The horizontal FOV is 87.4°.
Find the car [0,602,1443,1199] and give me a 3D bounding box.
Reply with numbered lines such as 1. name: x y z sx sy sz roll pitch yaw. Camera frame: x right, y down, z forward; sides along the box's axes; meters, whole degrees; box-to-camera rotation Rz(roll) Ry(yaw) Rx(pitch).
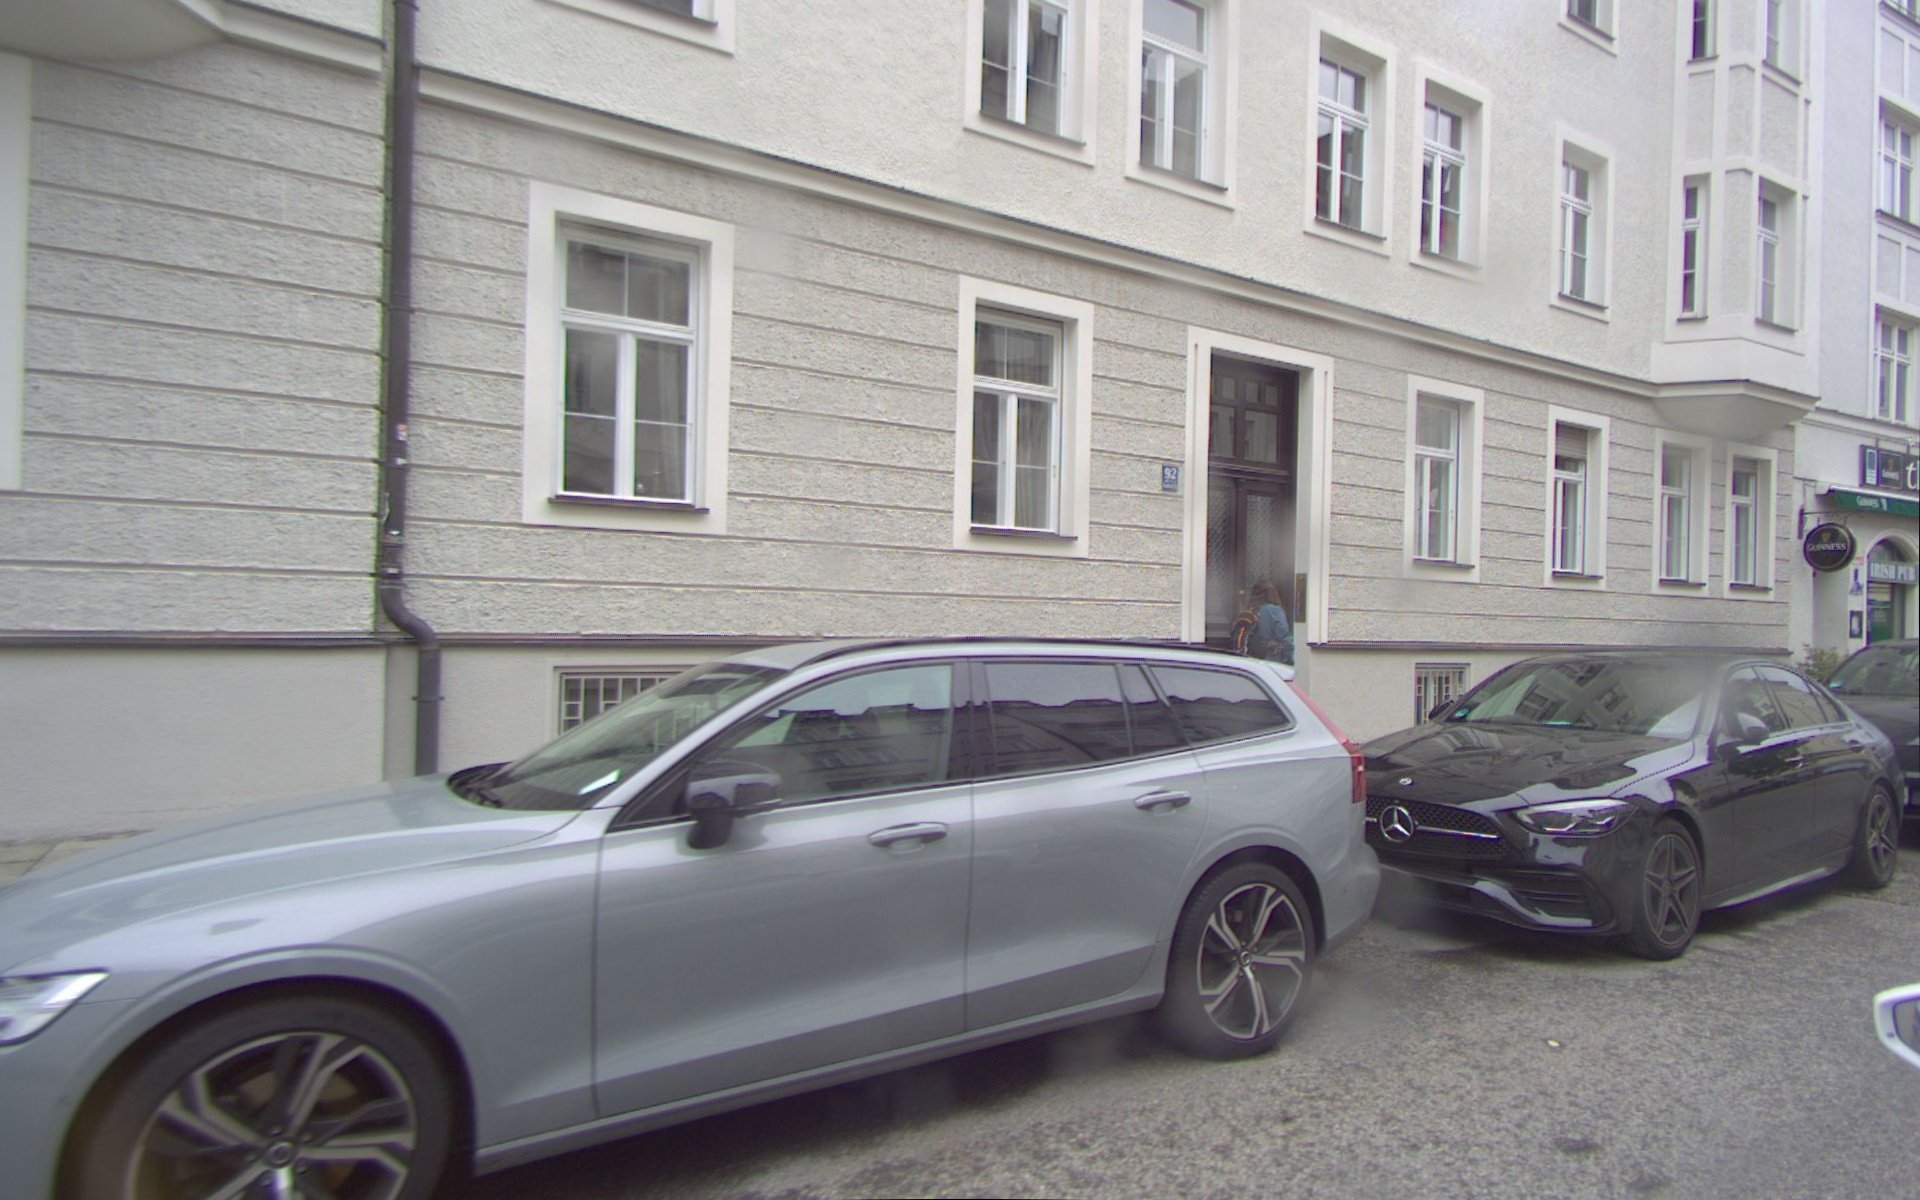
1. car: -0.490 0.835 3.616 4.456 1.438 1.787 2 -4 -29

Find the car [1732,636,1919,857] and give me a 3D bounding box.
1. car: 8.366 1.095 8.274 4.131 1.506 1.734 2 -1 -30

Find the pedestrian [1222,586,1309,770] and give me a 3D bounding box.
1. pedestrian: 2.989 0.739 9.883 0.685 1.729 0.666 1 0 7

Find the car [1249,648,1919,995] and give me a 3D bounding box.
1. car: 3.953 1.006 6.109 4.396 1.403 1.800 2 -2 -33
